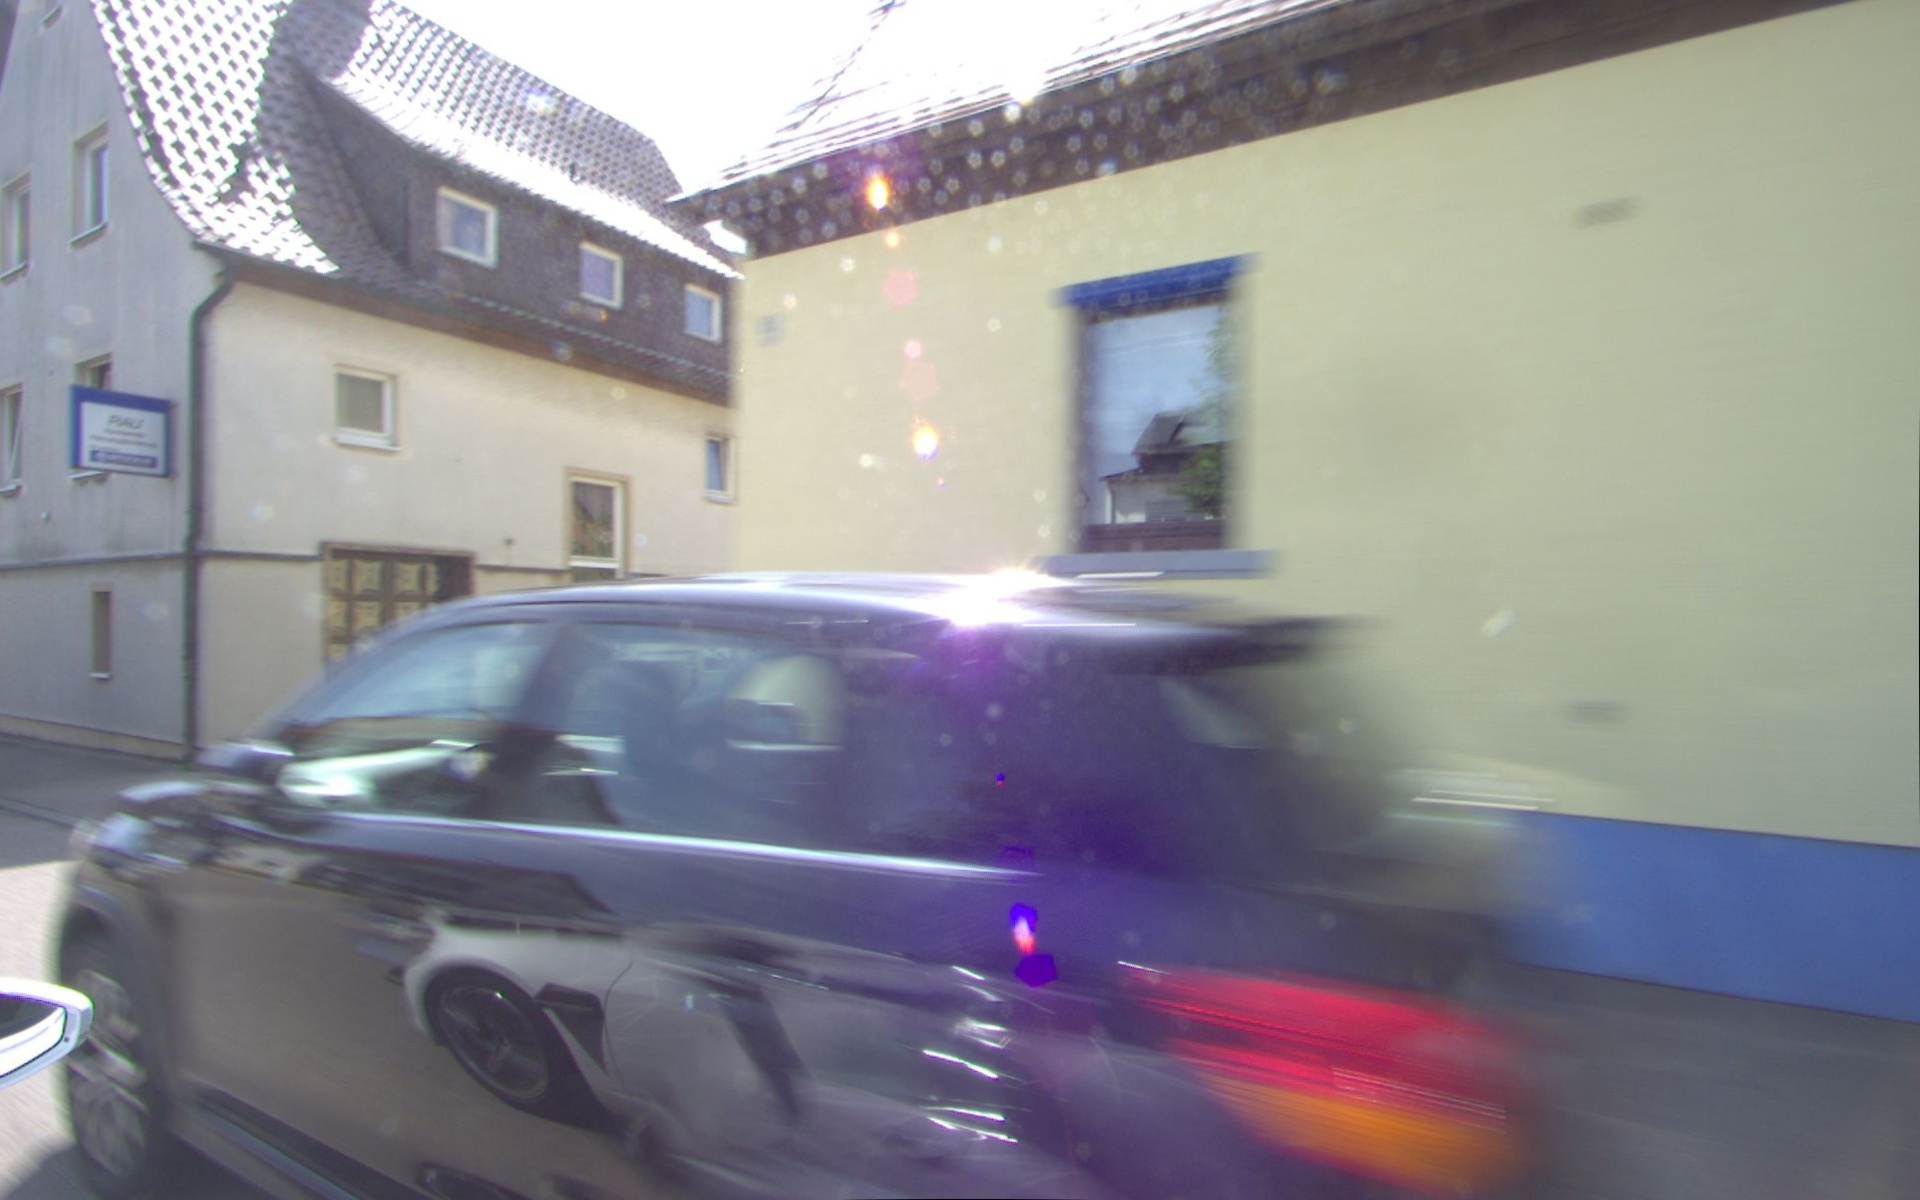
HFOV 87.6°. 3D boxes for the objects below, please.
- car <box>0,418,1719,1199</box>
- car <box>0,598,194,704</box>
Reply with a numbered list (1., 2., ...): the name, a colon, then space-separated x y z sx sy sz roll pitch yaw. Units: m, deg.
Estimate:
1. car: -0.741 0.724 2.621 4.192 1.620 1.726 -1 -2 32
2. car: -17.409 0.931 18.720 1.969 1.866 4.513 0 -2 29
